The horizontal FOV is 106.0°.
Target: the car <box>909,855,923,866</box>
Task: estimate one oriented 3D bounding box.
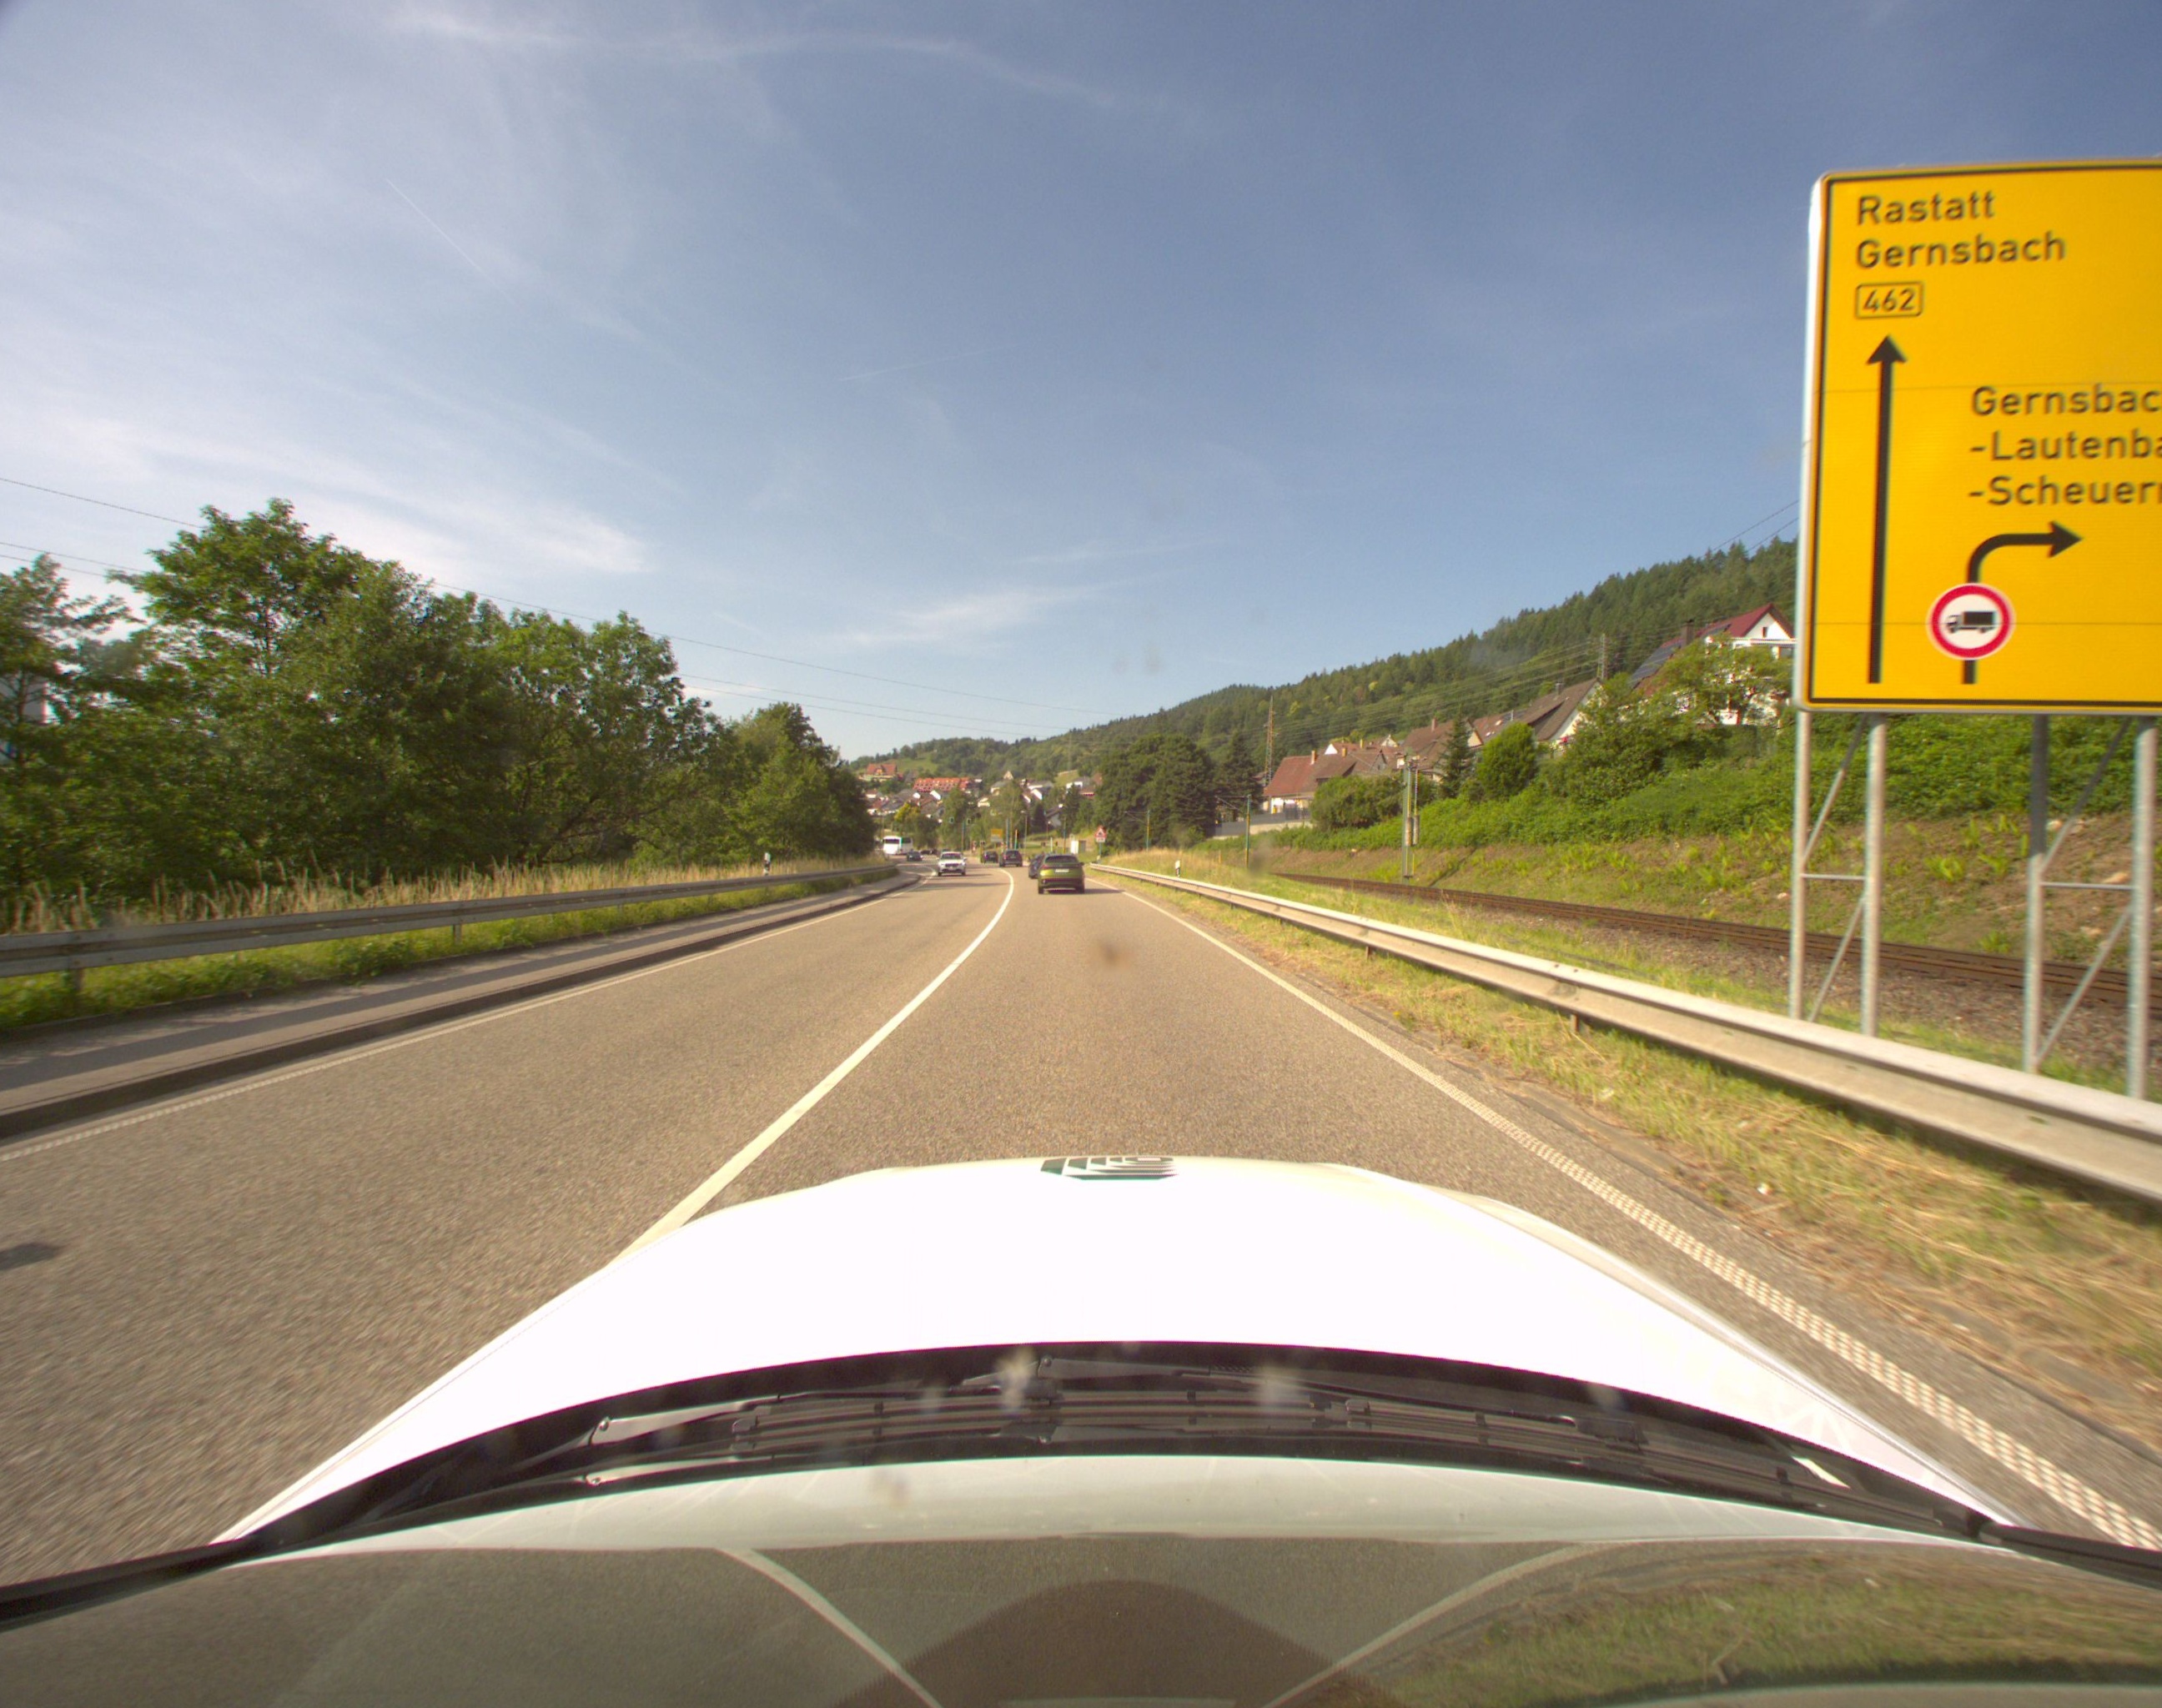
[{"bbox_3d":[-23.316,0.865,115.345,1.892,1.488,3.984,-2,0,-12],"label":"car"}]

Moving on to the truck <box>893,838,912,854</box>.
[{"bbox_3d":[-35.343,-1.635,161.349,2.723,3.084,6.063,0,1,-23],"label":"truck"}]

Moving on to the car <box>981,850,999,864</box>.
[{"bbox_3d":[-10.780,0.346,96.546,1.849,1.527,3.649,1,0,-11],"label":"car"}]

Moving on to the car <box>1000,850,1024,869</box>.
[{"bbox_3d":[-6.506,0.538,76.843,1.880,1.686,3.985,-1,0,-11],"label":"car"}]

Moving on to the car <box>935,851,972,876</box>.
[{"bbox_3d":[-8.537,0.605,54.689,1.989,1.629,3.996,-1,0,-3],"label":"car"}]

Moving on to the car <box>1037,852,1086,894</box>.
[{"bbox_3d":[-0.797,0.679,31.237,1.711,1.455,3.994,-1,0,-4],"label":"car"}]

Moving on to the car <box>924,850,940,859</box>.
[{"bbox_3d":[-30.172,0.164,165.020,2.005,1.745,3.964,1,-1,-28],"label":"car"}]

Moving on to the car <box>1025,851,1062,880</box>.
[{"bbox_3d":[-2.217,0.637,47.012,1.667,1.559,3.986,-1,0,-10],"label":"car"}]

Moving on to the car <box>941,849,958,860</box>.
[{"bbox_3d":[-21.608,0.022,133.754,2.071,1.811,3.971,0,0,-22],"label":"car"}]
